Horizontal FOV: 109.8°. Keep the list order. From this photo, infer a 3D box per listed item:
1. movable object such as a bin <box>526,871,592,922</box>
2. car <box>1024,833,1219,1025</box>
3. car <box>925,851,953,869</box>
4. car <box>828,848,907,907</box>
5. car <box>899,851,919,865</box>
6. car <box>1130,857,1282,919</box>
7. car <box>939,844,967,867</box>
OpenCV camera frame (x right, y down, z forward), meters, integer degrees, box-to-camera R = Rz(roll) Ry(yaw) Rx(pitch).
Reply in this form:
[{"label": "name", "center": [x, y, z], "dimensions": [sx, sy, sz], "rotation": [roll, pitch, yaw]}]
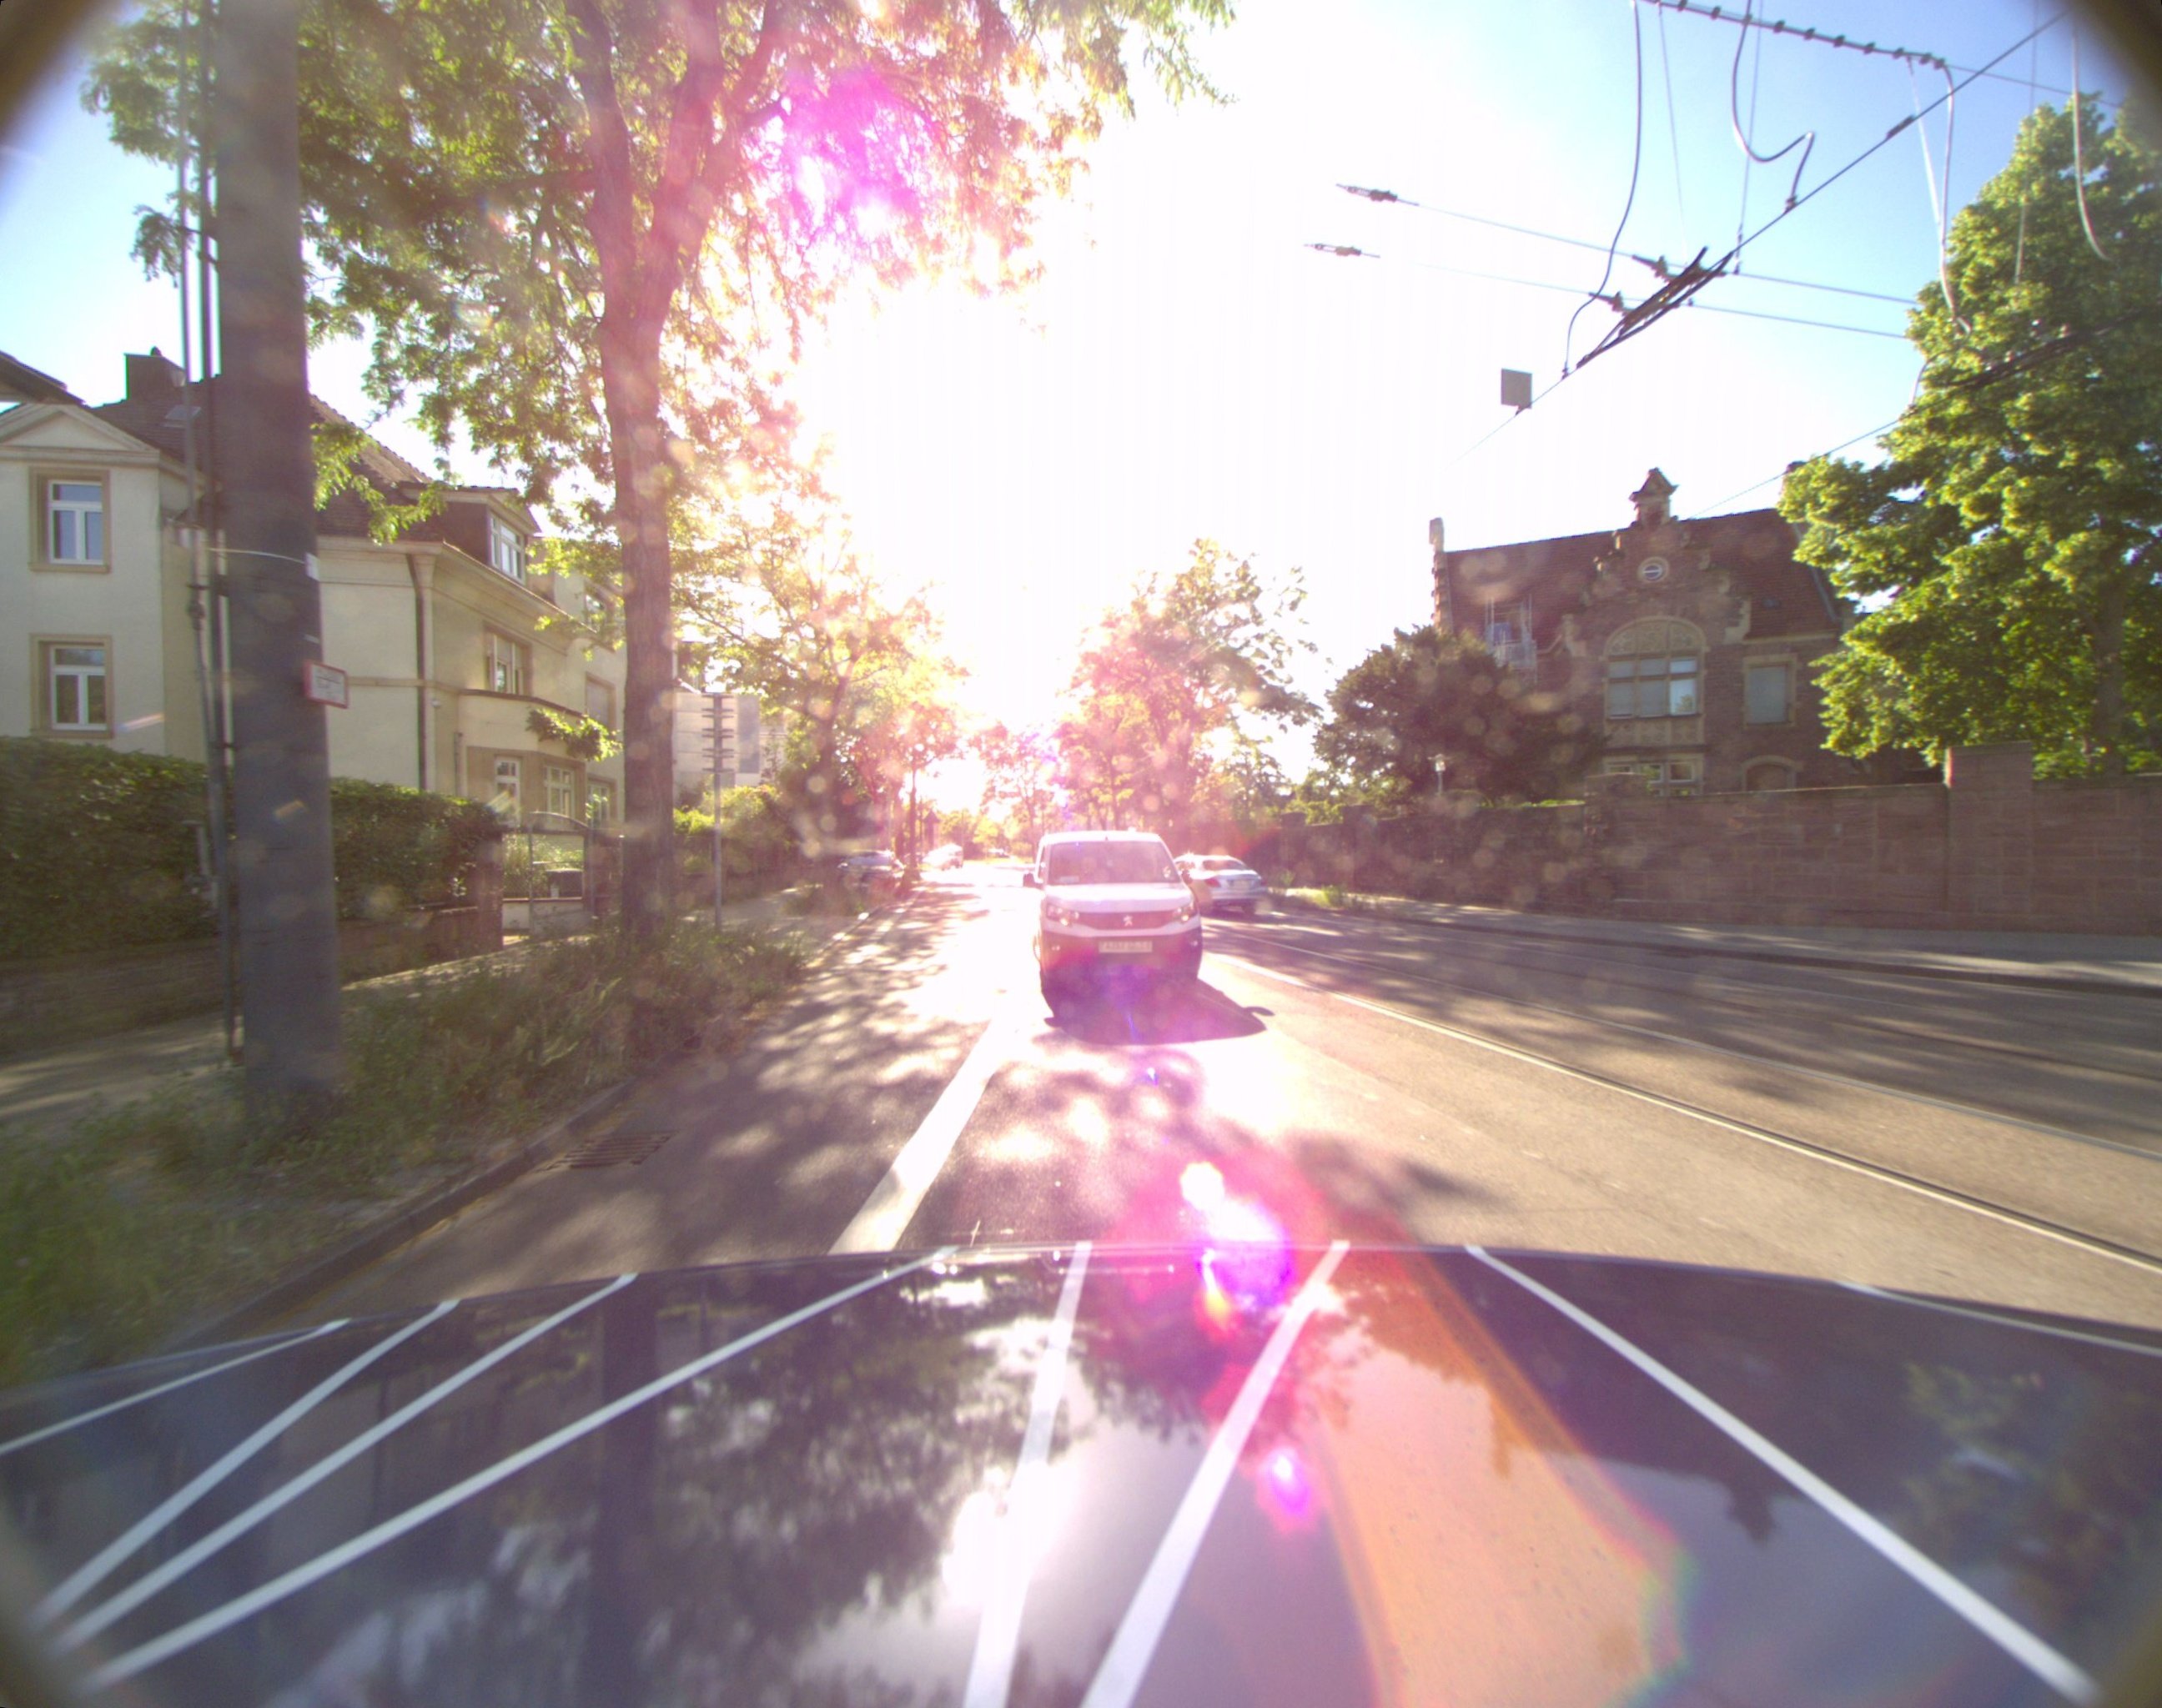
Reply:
[{"label": "movable object such as a bin", "center": [-11.427, 0.923, 16.647], "dimensions": [0.965, 1.049, 0.728], "rotation": [-1, 1, 18]}, {"label": "car", "center": [0.245, 0.675, 9.435], "dimensions": [1.832, 1.788, 4.331], "rotation": [-2, 1, -4]}, {"label": "car", "center": [-11.013, 0.452, 59.174], "dimensions": [1.720, 1.332, 3.915], "rotation": [-1, 1, -4]}, {"label": "car", "center": [-7.046, 0.706, 25.482], "dimensions": [2.000, 1.733, 4.167], "rotation": [-1, 1, -8]}, {"label": "car", "center": [-18.923, 0.437, 83.734], "dimensions": [1.742, 1.434, 3.997], "rotation": [-1, 1, -6]}, {"label": "car", "center": [3.130, 0.829, 20.102], "dimensions": [1.891, 1.406, 4.616], "rotation": [0, -1, -21]}, {"label": "car", "center": [-10.989, 0.082, 65.584], "dimensions": [1.905, 1.819, 4.246], "rotation": [-1, 1, -4]}]
